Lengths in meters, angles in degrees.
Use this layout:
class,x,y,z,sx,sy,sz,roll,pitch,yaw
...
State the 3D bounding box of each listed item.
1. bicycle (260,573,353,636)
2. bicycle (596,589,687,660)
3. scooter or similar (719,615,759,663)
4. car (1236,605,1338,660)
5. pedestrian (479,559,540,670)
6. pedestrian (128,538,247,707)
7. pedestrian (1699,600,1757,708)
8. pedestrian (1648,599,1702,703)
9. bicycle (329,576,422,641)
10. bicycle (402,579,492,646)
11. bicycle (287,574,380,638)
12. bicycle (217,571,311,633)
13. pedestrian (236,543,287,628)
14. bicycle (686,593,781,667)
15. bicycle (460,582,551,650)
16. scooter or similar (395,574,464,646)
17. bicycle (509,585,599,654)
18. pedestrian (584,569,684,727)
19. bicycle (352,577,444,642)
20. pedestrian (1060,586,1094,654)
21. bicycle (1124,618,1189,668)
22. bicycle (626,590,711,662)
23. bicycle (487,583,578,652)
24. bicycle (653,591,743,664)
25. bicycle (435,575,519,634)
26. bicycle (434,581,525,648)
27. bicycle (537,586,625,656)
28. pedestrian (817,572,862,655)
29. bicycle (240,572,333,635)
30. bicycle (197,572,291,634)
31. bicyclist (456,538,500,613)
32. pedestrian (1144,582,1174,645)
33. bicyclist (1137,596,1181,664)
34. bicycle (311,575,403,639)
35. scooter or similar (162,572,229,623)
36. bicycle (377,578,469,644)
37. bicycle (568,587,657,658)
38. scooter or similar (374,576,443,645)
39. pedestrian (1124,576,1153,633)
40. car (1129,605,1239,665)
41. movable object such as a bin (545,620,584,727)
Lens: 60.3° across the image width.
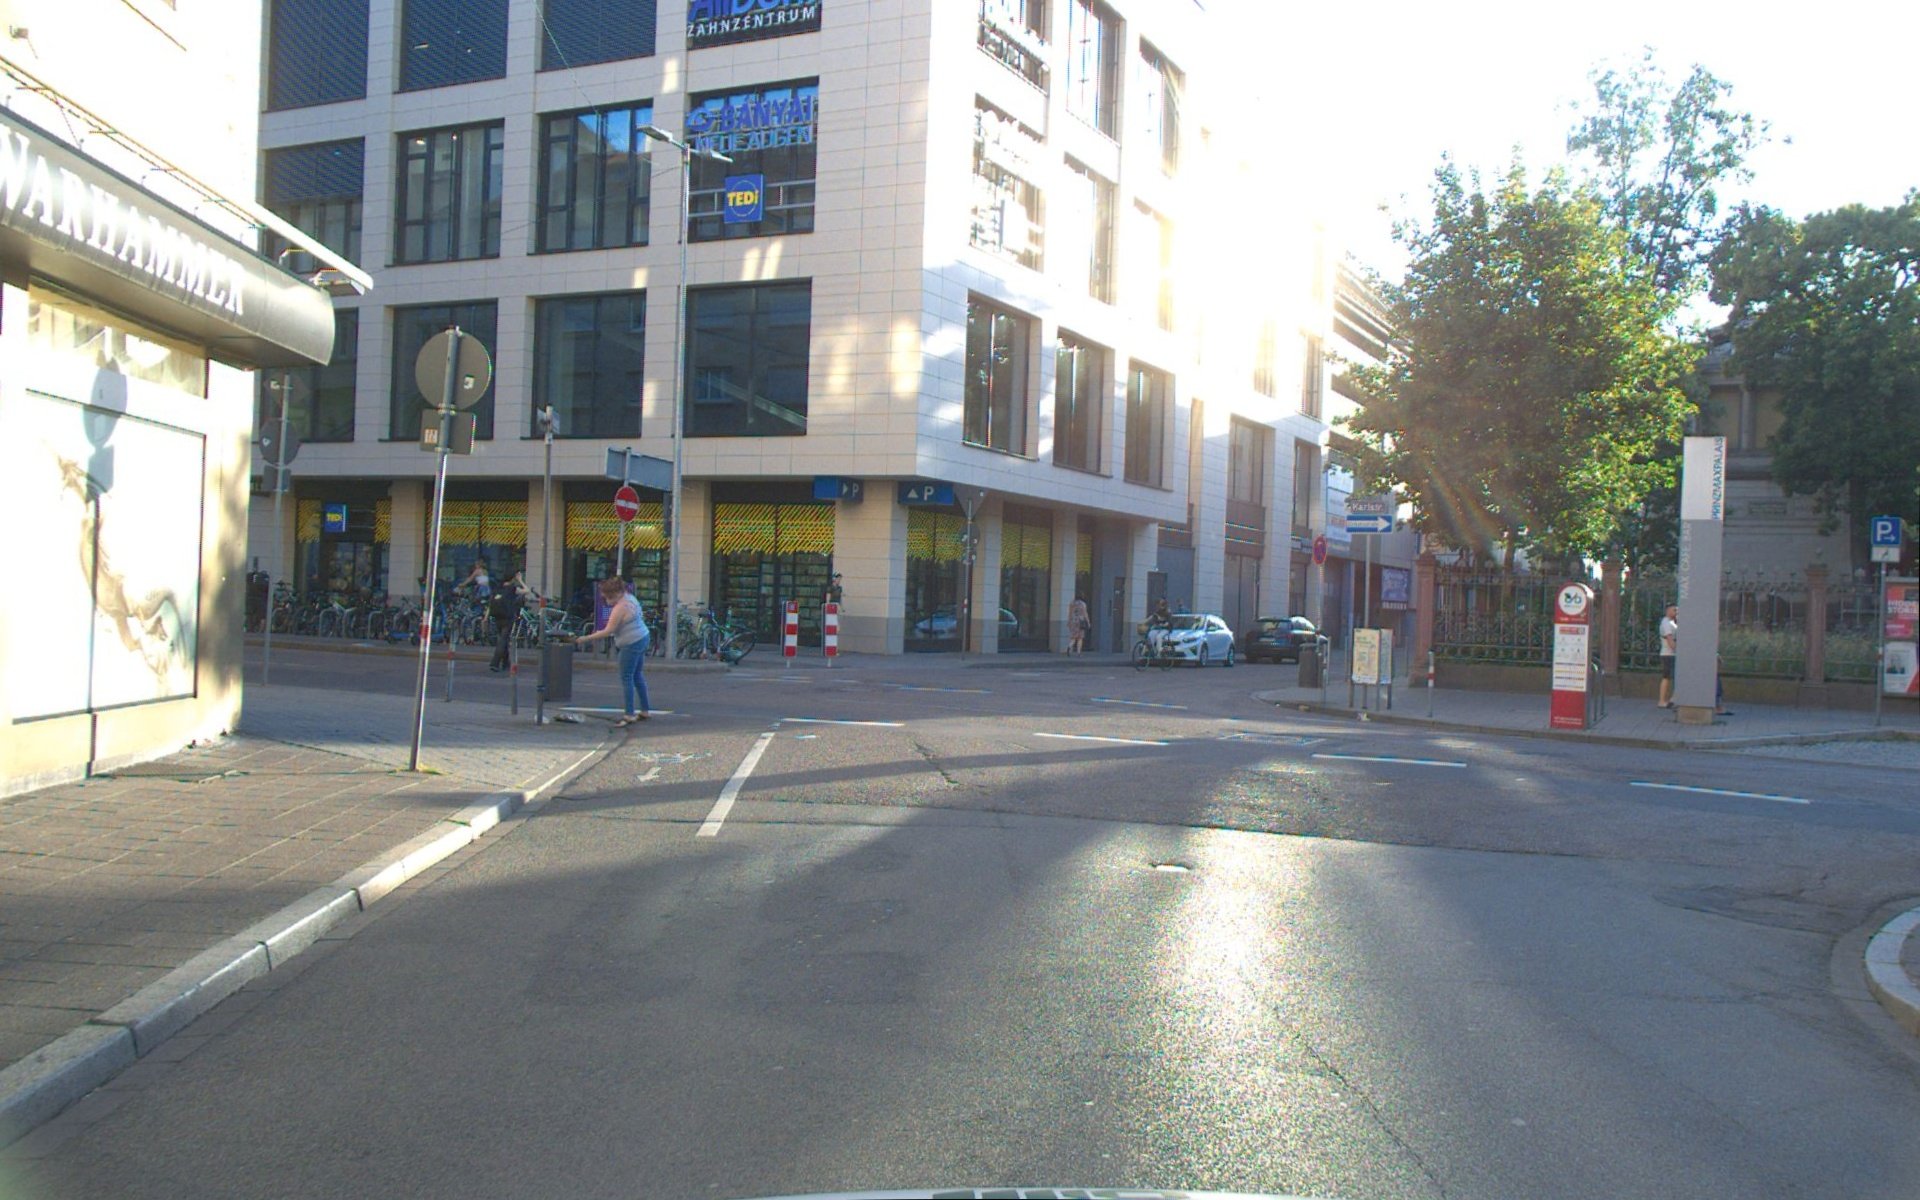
class,x,y,z,sx,sy,sz,roll,pitch,yaw
bicycle,-13.859,0.108,35.136,0.502,1.277,1.977,2,-1,25
bicycle,-5.936,0.467,30.885,0.502,1.277,1.976,2,-1,27
scooter or similar,-4.236,0.746,31.732,0.379,0.899,0.769,2,-1,25
car,10.607,1.046,53.339,1.848,1.626,4.681,2,0,29
pedestrian,-7.070,0.230,25.943,0.855,1.687,0.616,2,0,-17
pedestrian,-7.787,0.222,16.701,0.717,1.641,0.805,2,0,7
pedestrian,12.518,0.872,26.975,0.688,1.699,0.643,2,1,14
pedestrian,12.124,0.855,28.062,0.688,1.699,0.643,2,1,14
bicycle,-12.056,0.190,34.171,0.502,1.277,1.977,2,-1,25
bicycle,-10.301,0.269,33.262,0.501,1.277,1.978,2,-1,24
bicycle,-13.186,0.139,34.860,0.502,1.277,1.977,2,-1,25
bicycle,-14.962,0.057,35.622,0.502,1.277,1.977,2,-1,25
pedestrian,-14.485,-0.290,34.285,0.630,1.725,0.683,2,0,30
bicycle,-4.097,0.552,30.132,0.650,1.277,2.140,2,-1,23
bicycle,-8.913,0.333,32.539,0.502,1.277,1.977,2,-1,25
scooter or similar,-9.703,0.199,30.267,0.379,1.282,1.269,2,-1,25
bicycle,-7.815,0.382,31.918,0.502,1.277,1.977,2,-1,25
pedestrian,-3.488,0.507,17.697,0.795,1.641,0.726,2,0,-33
bicycle,-11.507,0.215,33.943,0.502,1.277,1.977,2,-1,25
pedestrian,3.101,0.523,43.857,0.659,1.775,0.646,2,0,27
bicycle,4.755,1.043,39.890,0.653,1.158,1.813,2,-1,39
bicycle,-5.381,0.493,30.631,0.501,1.277,1.978,2,-1,23
bicycle,-8.300,0.360,32.198,0.502,1.277,1.977,2,-1,25
bicycle,-4.796,0.520,30.409,0.569,1.277,2.043,2,-1,23
bicycle,-11.208,0.103,38.380,1.934,1.277,0.612,2,-1,27
bicycle,-9.544,0.304,32.950,0.502,1.277,1.977,2,-1,25
bicycle,-7.231,0.409,31.671,0.501,1.277,1.977,2,-1,24
pedestrian,-2.608,0.277,35.782,0.628,1.753,0.838,2,0,-28
bicycle,-14.392,0.083,35.382,0.502,1.277,1.977,2,-1,25
bicycle,-15.607,0.079,36.097,0.502,1.277,1.977,2,-1,25
bicyclist,-11.200,-0.566,38.427,0.630,1.725,0.683,2,0,27
pedestrian,6.060,0.412,50.359,0.658,1.868,0.647,2,0,25
bicyclist,4.815,0.724,39.958,0.648,1.598,0.859,2,-1,39
bicycle,-12.581,0.167,34.579,0.502,1.277,1.977,2,-1,25
scooter or similar,-15.782,-0.050,34.164,0.379,1.009,1.269,2,-1,25
bicycle,-10.857,0.244,33.530,0.502,1.277,1.977,2,-1,25
bicycle,-6.557,0.440,31.299,0.502,1.277,1.977,2,-1,25
scooter or similar,-10.186,0.211,30.583,0.379,1.233,1.269,2,-1,25
pedestrian,5.459,0.151,50.633,0.658,1.704,0.647,2,0,25
car,6.198,0.945,45.346,1.743,1.478,4.227,2,0,26
movable object such as a bin,-4.119,0.763,17.236,0.353,1.082,0.355,2,0,-14
